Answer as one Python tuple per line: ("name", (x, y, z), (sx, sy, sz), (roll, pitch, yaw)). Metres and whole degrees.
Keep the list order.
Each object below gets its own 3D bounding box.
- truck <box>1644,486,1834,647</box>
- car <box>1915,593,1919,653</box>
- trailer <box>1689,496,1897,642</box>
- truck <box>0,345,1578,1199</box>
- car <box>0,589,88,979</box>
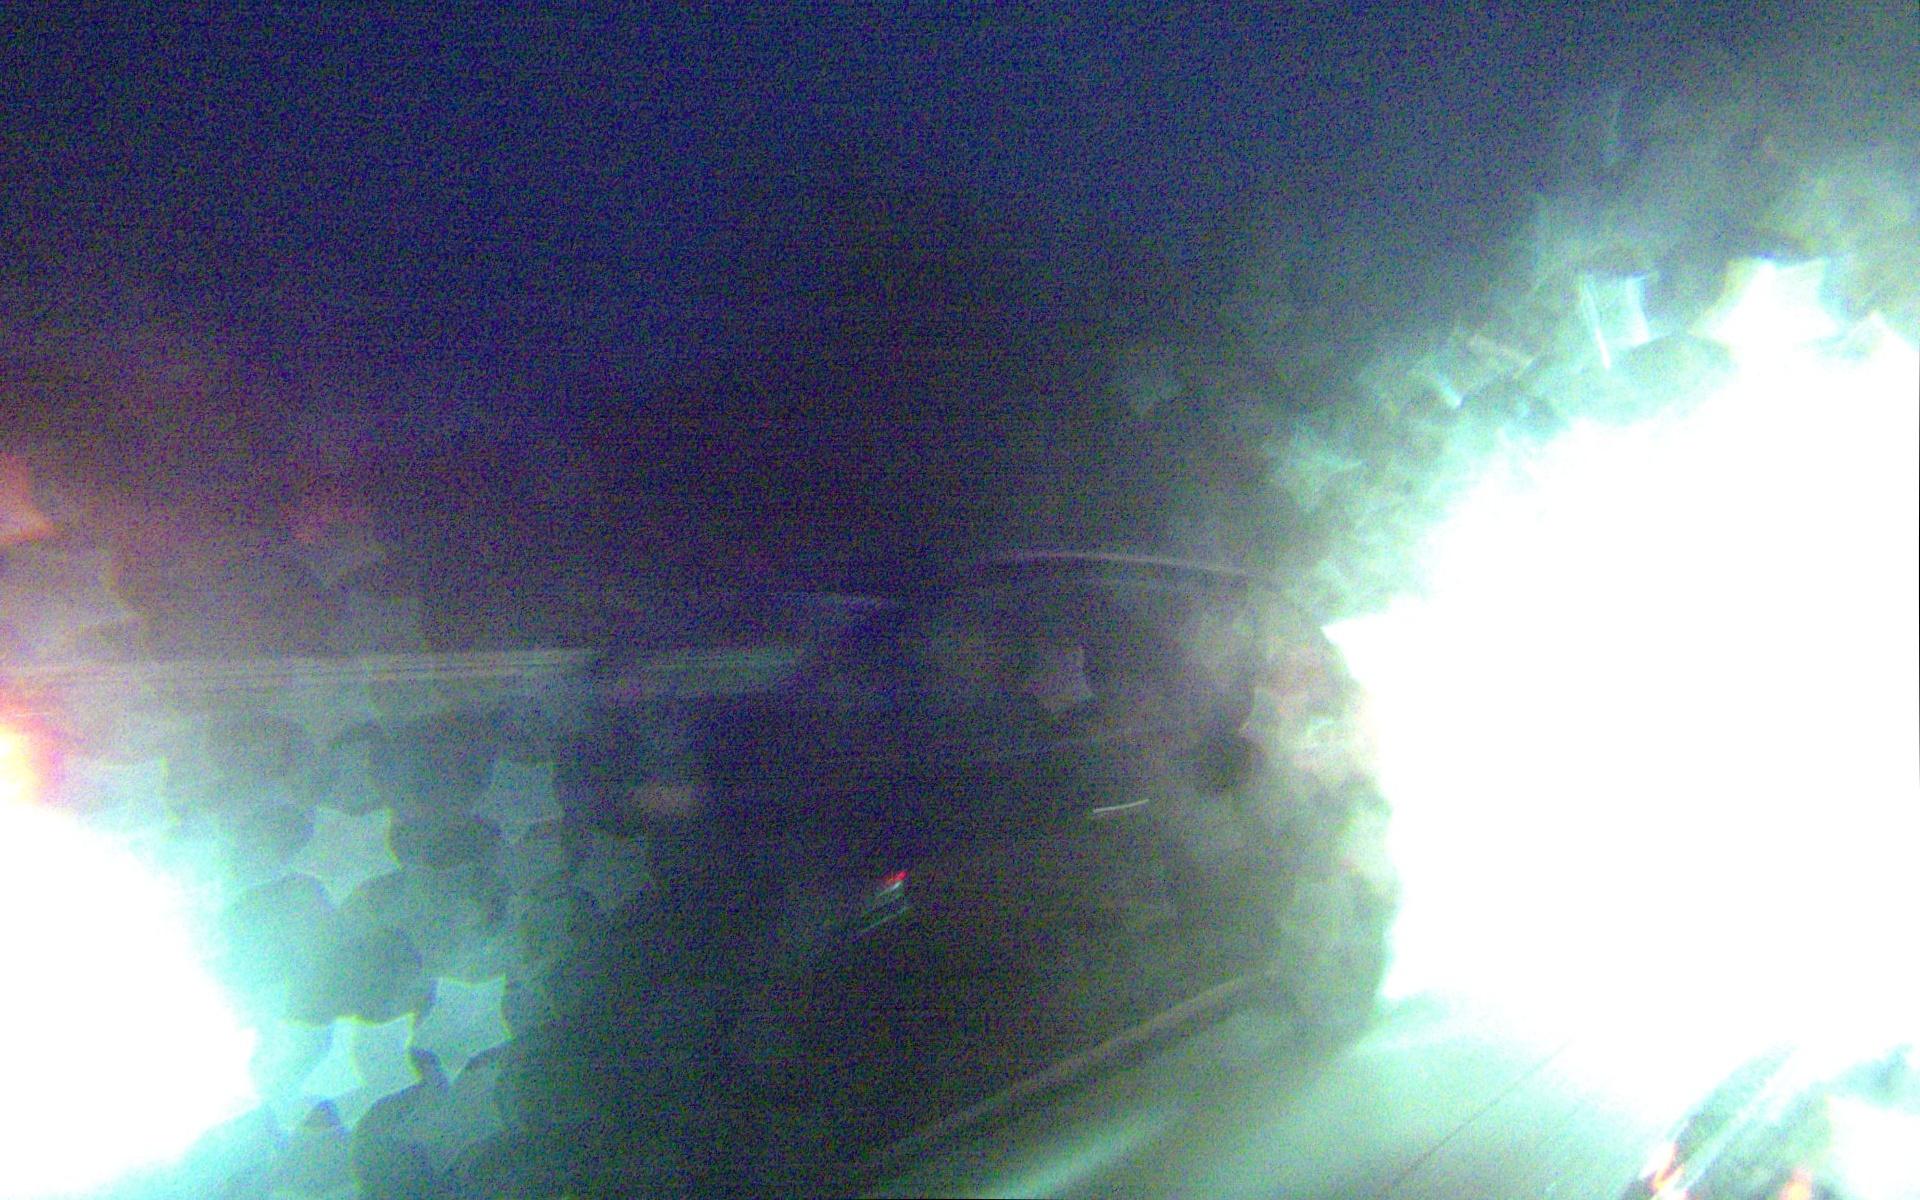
("truck", (22.782, -0.885, 29.457), (6.888, 4.155, 2.865), (0, 0, -39))
("car", (26.438, 0.575, 26.488), (3.700, 1.522, 1.619), (-1, 0, -39))
("trailer", (28.504, -0.954, 34.246), (13.396, 4.149, 2.871), (-1, 0, -39))
("truck", (0.103, 0.559, 3.278), (4.769, 1.717, 1.847), (-1, 0, -40))
("car", (-6.075, 0.694, 2.980), (5.271, 1.498, 1.746), (0, 0, -41))
